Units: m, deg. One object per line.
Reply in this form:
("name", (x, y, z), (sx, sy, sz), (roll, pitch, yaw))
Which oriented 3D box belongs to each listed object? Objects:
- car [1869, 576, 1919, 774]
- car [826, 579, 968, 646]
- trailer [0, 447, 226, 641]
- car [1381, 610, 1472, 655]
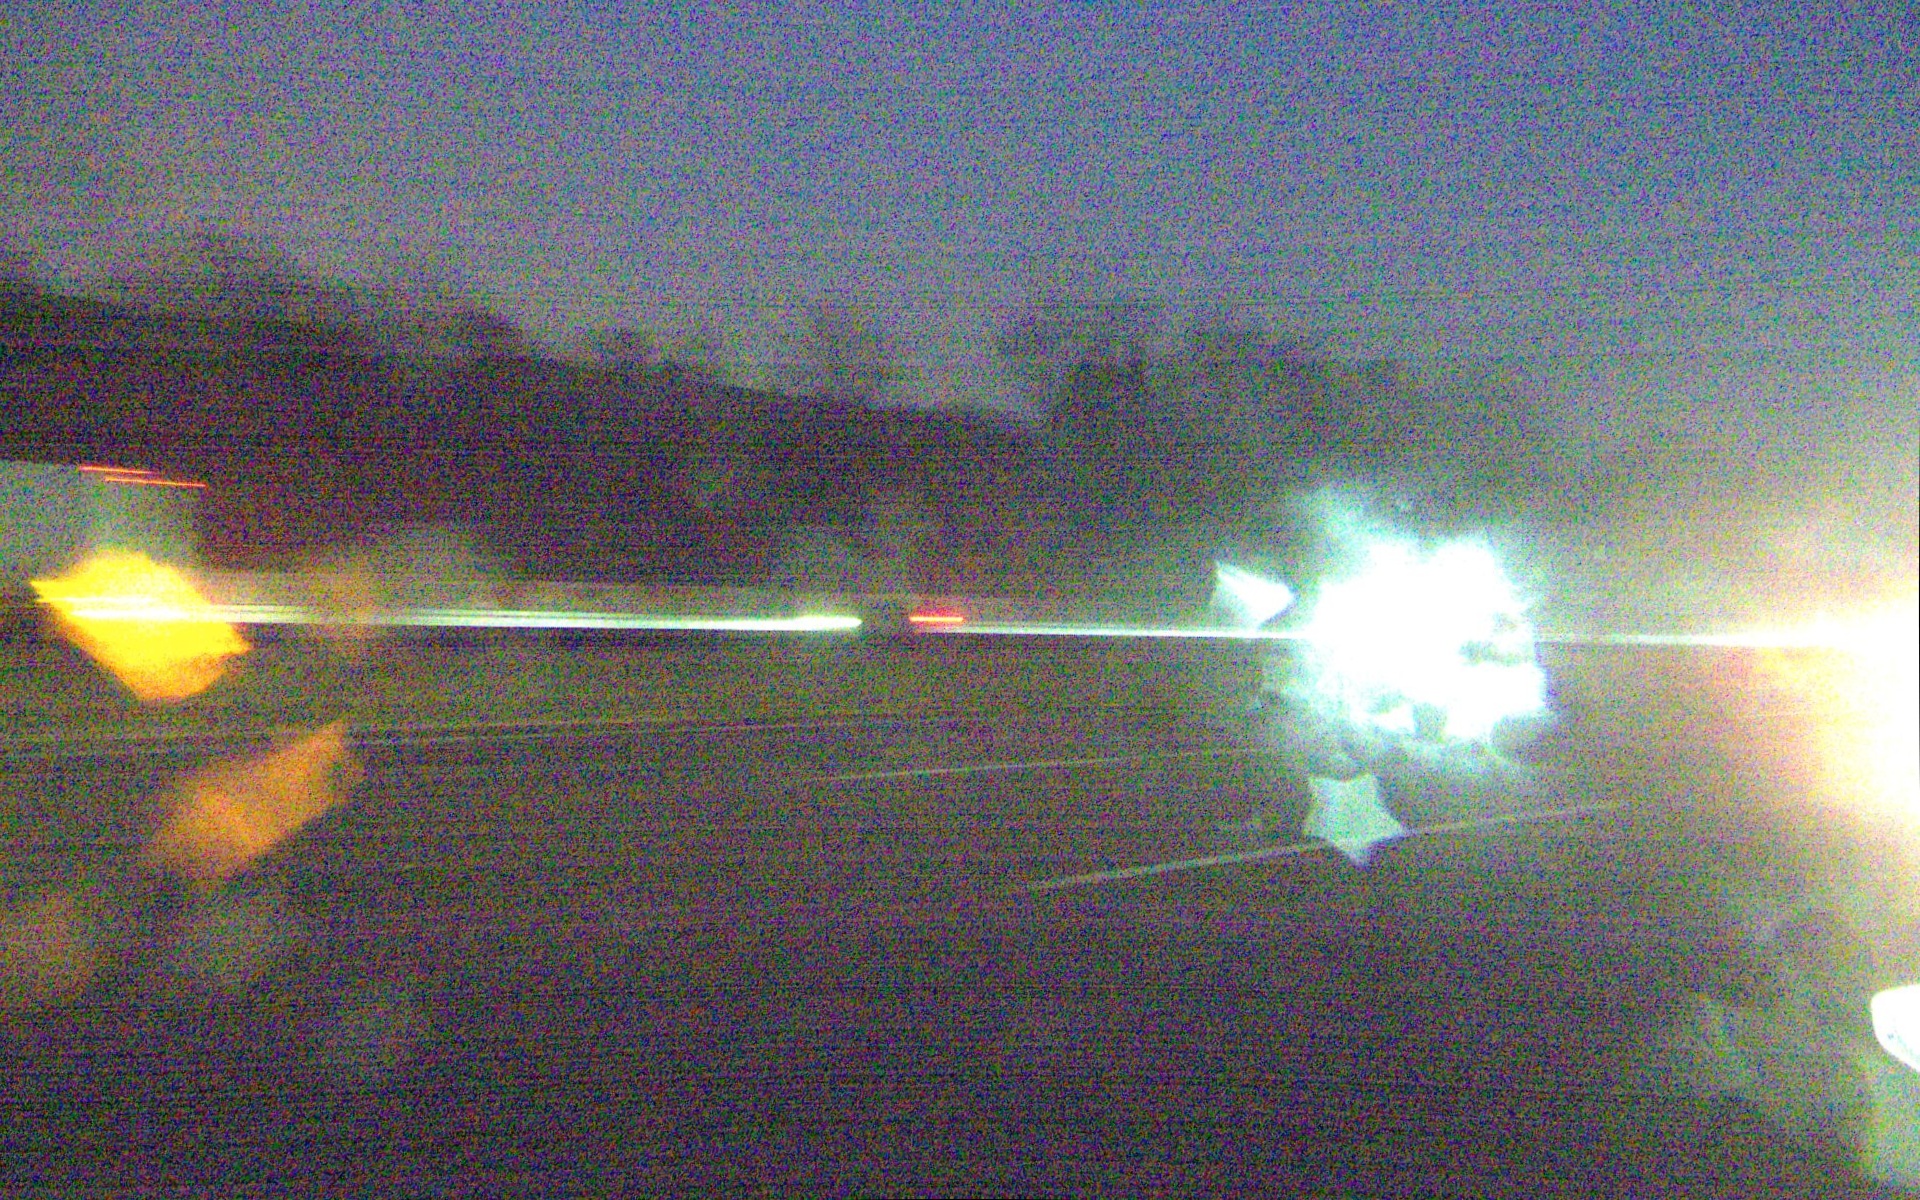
("car", (12.307, 0.853, 11.096), (4.959, 2.040, 1.984), (2, 0, -31))
("car", (-2.132, 0.438, 34.350), (4.355, 2.041, 1.983), (2, 2, -31))
("trailer", (-24.703, -1.421, 21.064), (14.688, 4.145, 2.714), (2, 2, -31))
("car", (23.499, 1.655, 50.574), (4.355, 2.041, 1.983), (2, 2, -31))
